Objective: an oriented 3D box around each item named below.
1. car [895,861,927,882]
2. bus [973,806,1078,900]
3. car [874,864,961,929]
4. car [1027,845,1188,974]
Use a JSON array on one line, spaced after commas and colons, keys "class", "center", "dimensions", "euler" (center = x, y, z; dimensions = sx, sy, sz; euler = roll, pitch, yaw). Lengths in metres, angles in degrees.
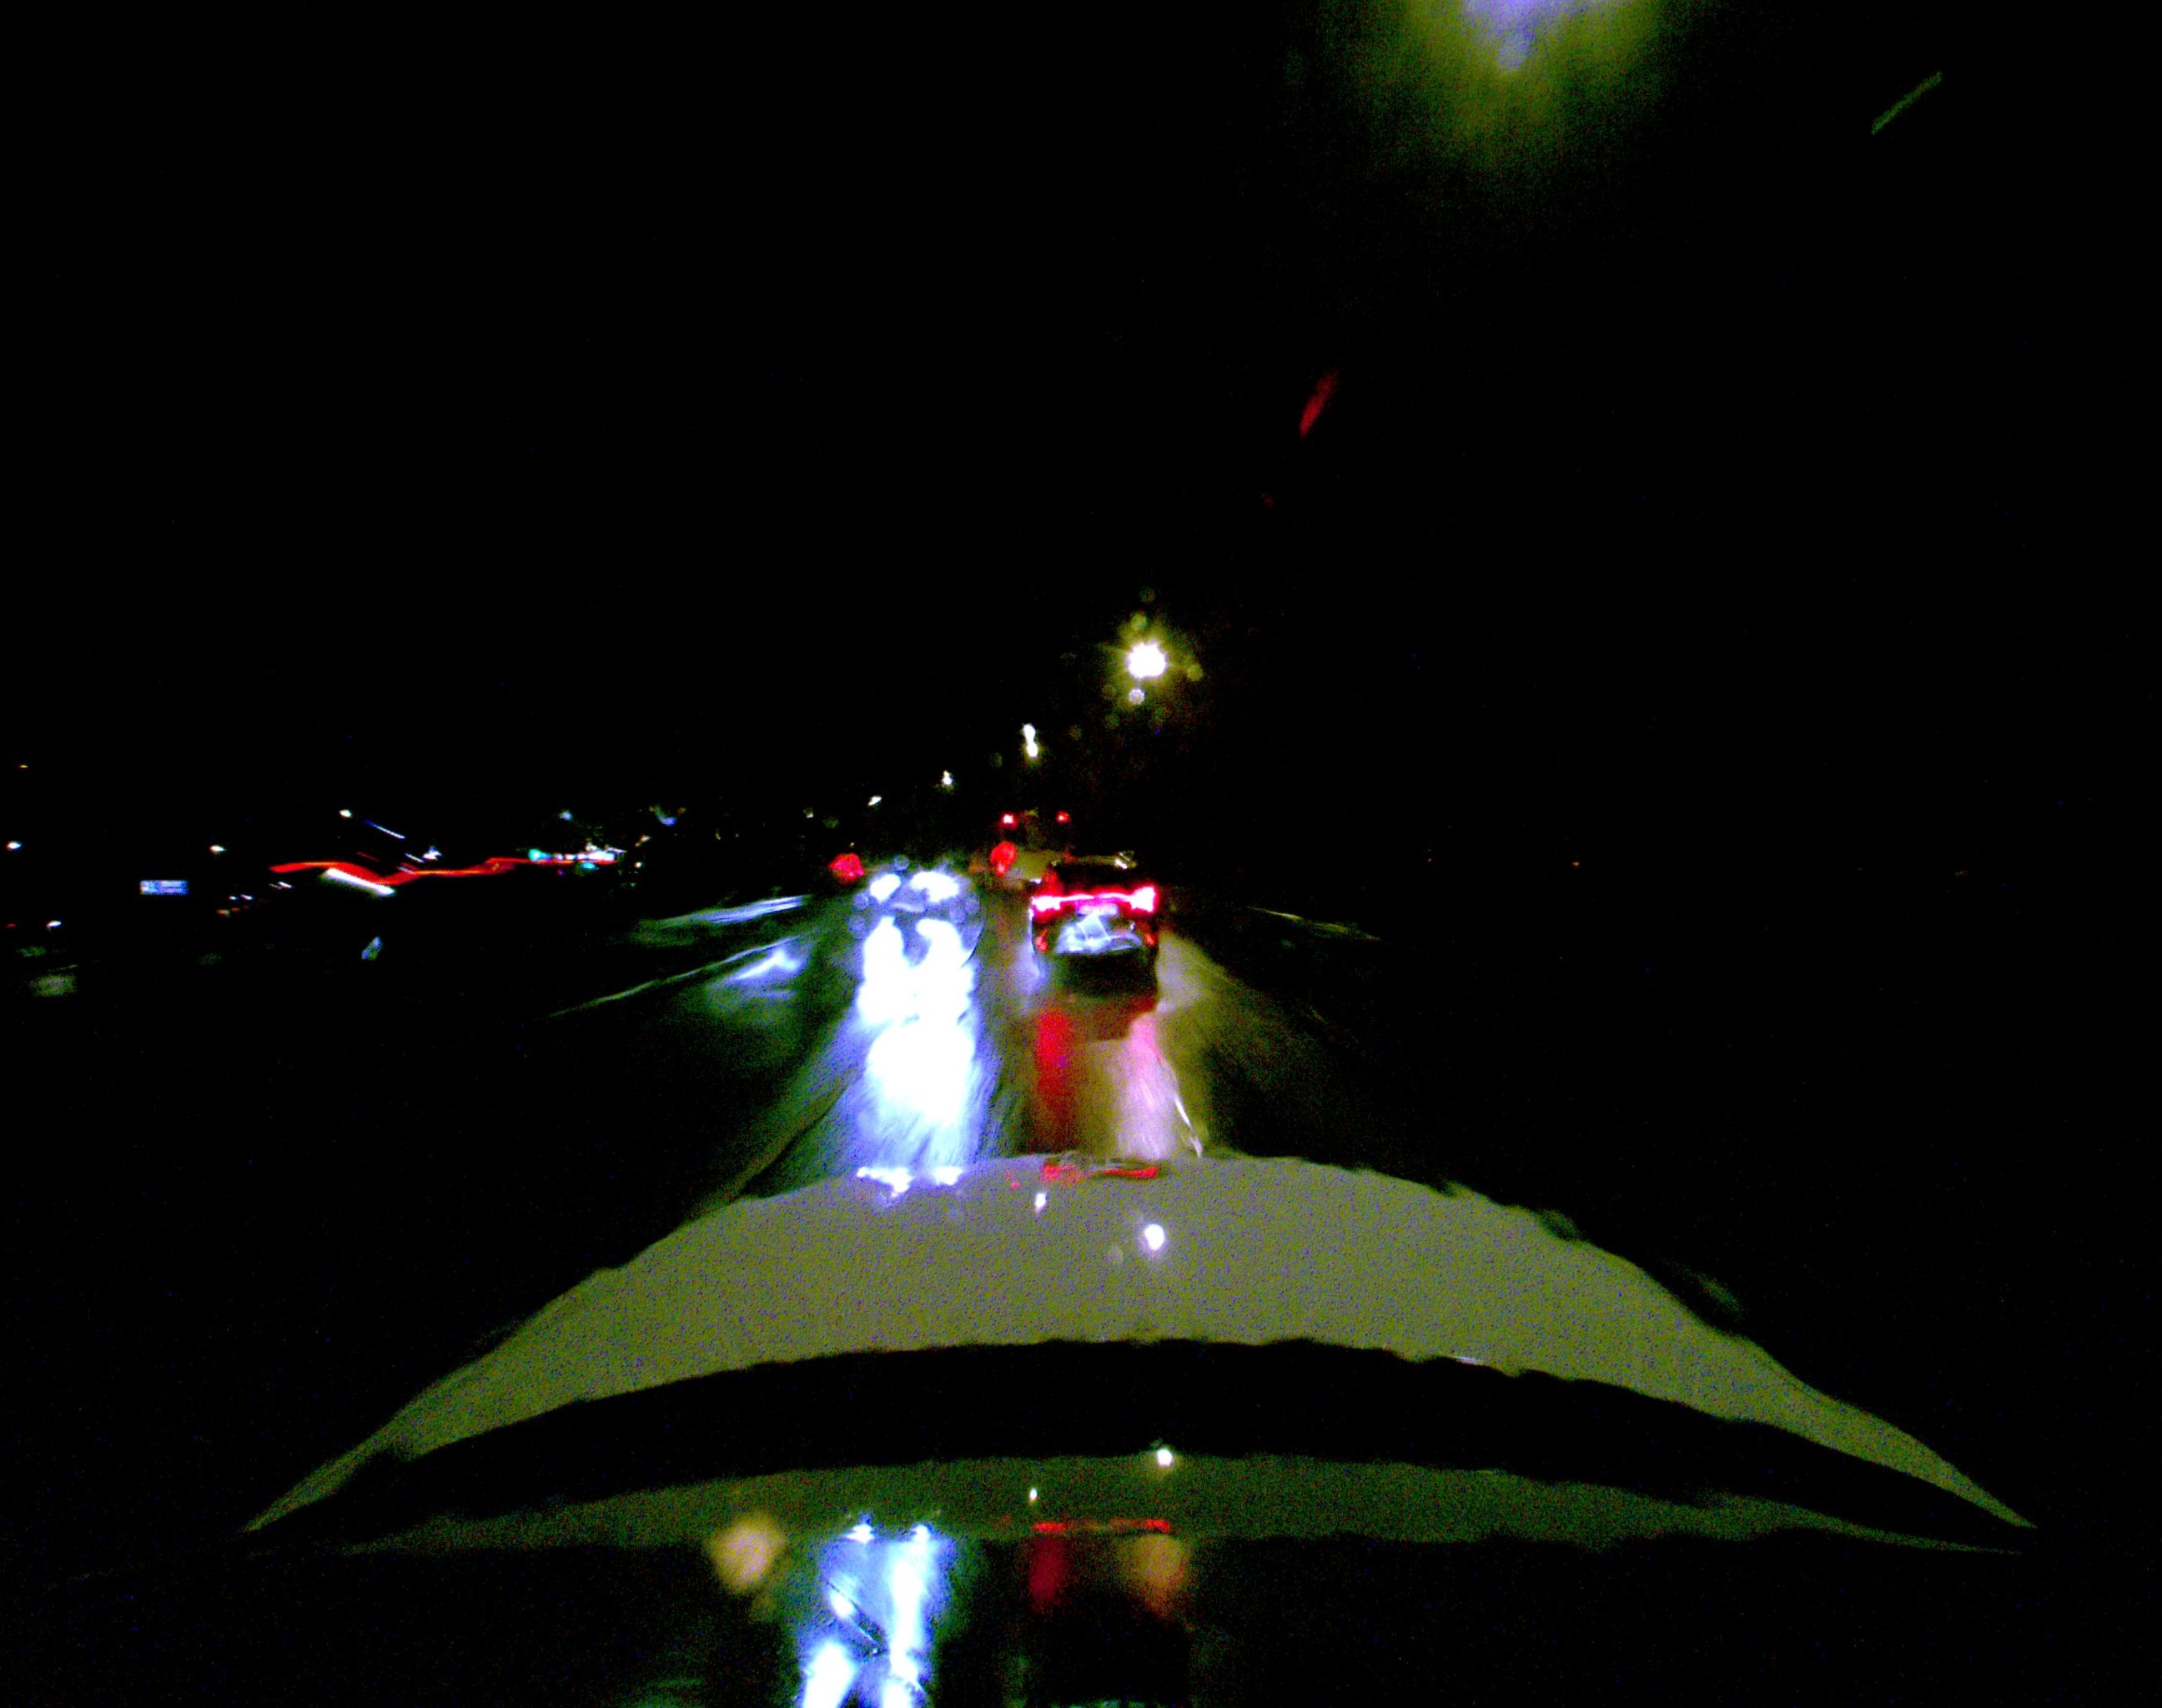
[{"class": "car", "center": [-14.746, 1.494, 70.708], "dimensions": [1.646, 1.655, 3.675], "euler": [-3, 1, -29]}, {"class": "bus", "center": [-2.718, -0.028, 34.190], "dimensions": [3.083, 3.132, 12.654], "euler": [-2, 0, -9]}, {"class": "car", "center": [-4.681, 1.156, 23.966], "dimensions": [1.894, 1.567, 4.728], "euler": [-1, 1, -4]}, {"class": "car", "center": [0.215, 0.705, 12.259], "dimensions": [1.854, 1.586, 3.991], "euler": [-1, 0, -7]}]
